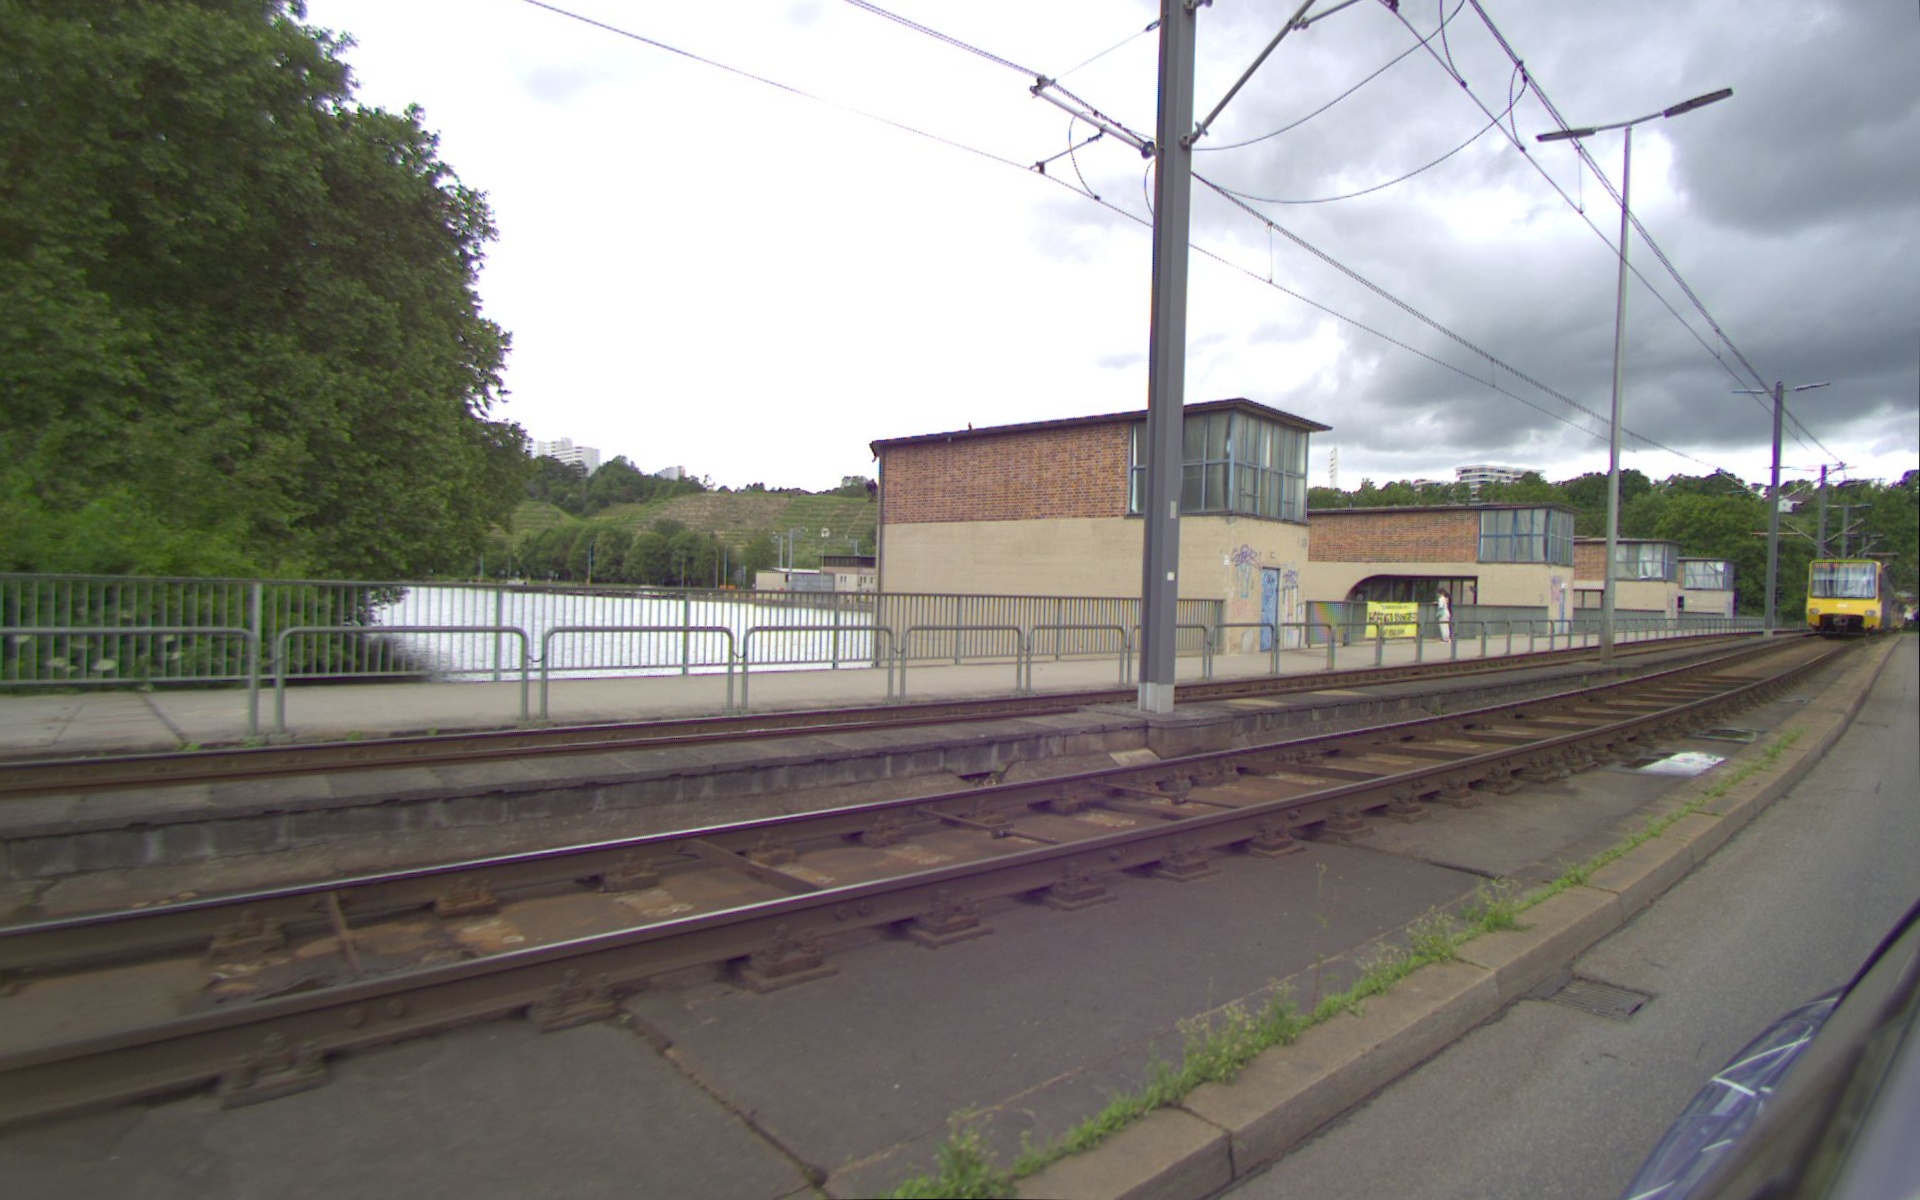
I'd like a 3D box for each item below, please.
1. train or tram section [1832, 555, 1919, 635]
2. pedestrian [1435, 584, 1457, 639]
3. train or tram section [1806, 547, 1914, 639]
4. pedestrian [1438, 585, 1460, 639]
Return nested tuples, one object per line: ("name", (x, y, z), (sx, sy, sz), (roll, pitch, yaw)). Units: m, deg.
("train or tram section", (49.421, -0.261, 54.334), (9.284, 3.967, 3.026), (1, 1, -44))
("pedestrian", (15.143, 0.363, 31.532), (0.509, 1.686, 0.347), (2, 0, 40))
("train or tram section", (42.711, -0.317, 47.919), (9.284, 3.967, 3.026), (1, 1, -44))
("pedestrian", (15.390, 0.371, 31.836), (0.509, 1.686, 0.347), (2, 0, 40))
